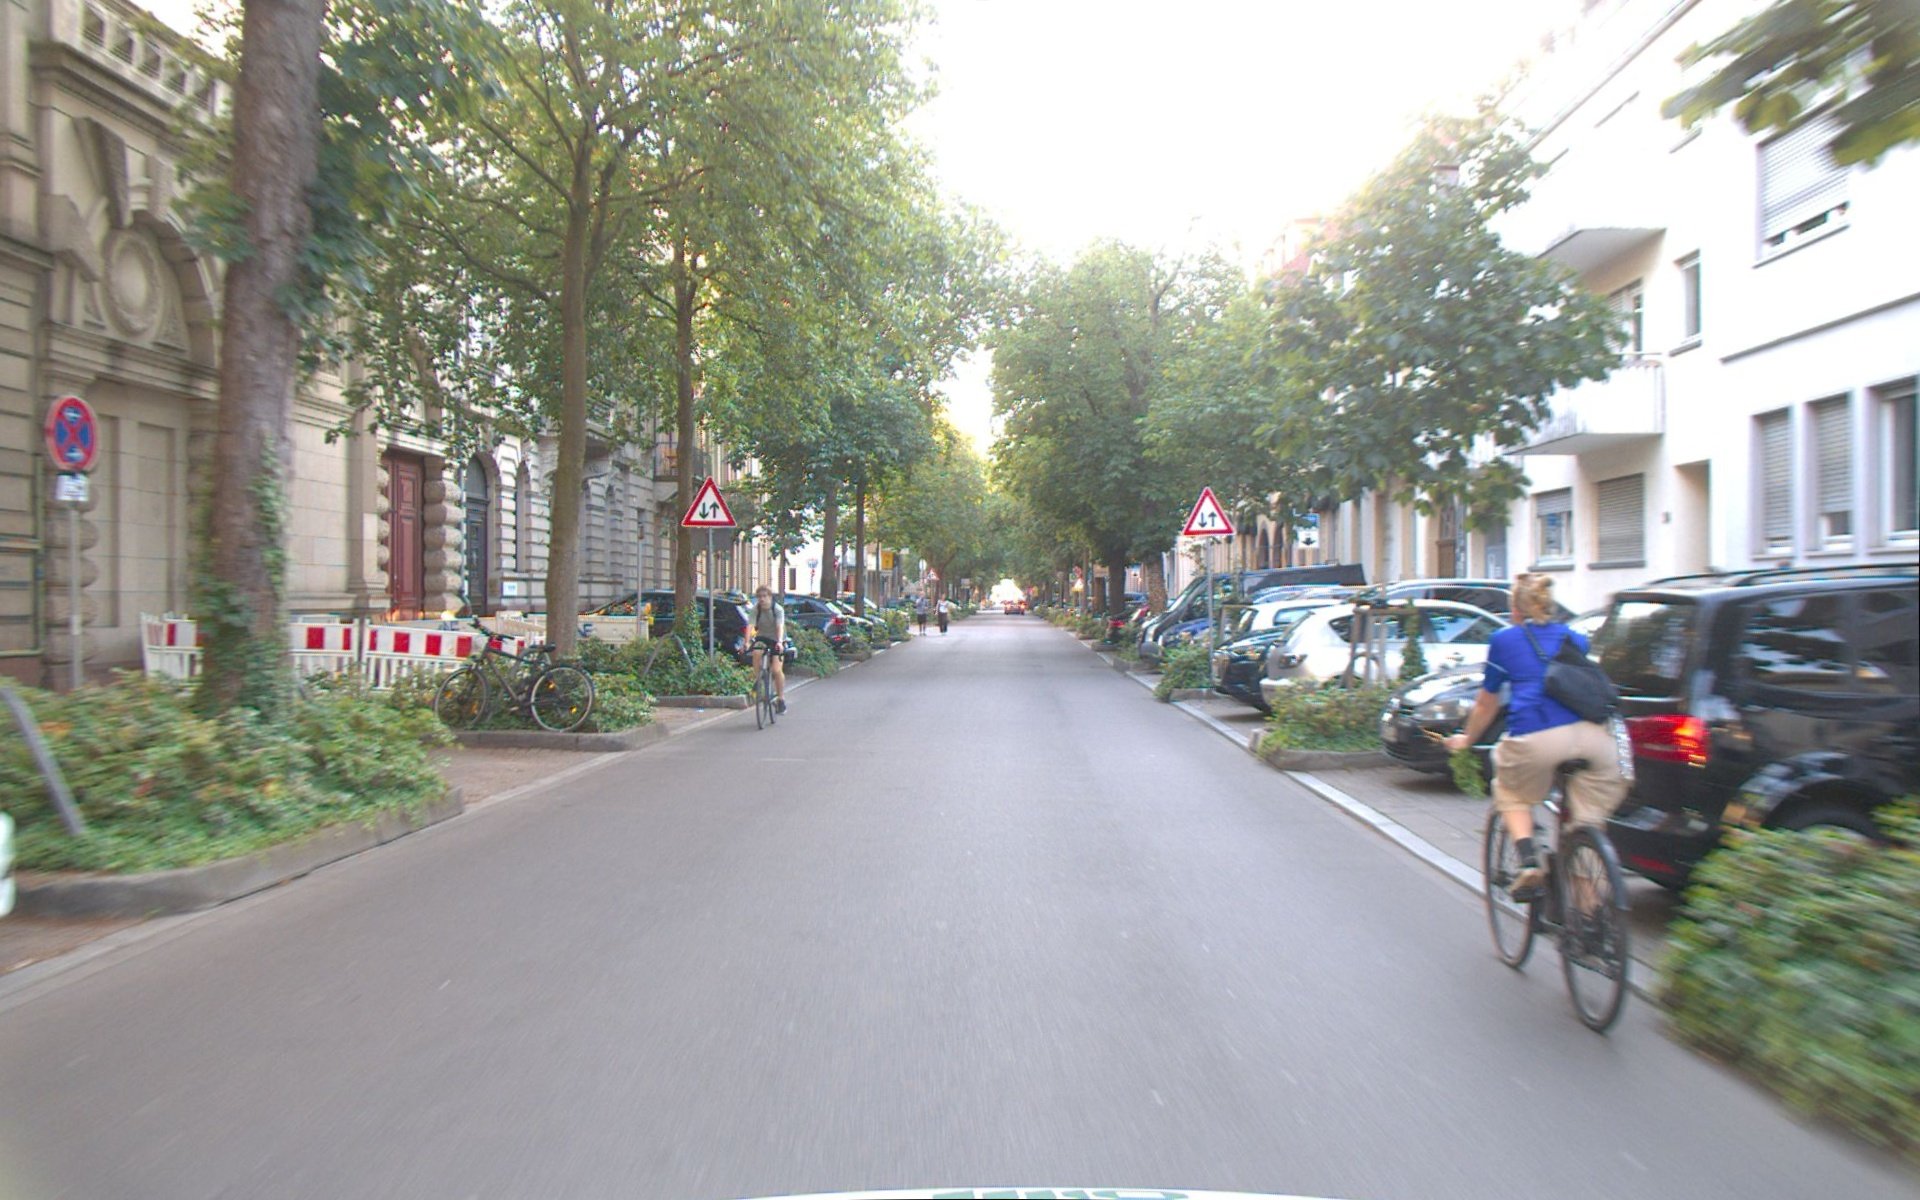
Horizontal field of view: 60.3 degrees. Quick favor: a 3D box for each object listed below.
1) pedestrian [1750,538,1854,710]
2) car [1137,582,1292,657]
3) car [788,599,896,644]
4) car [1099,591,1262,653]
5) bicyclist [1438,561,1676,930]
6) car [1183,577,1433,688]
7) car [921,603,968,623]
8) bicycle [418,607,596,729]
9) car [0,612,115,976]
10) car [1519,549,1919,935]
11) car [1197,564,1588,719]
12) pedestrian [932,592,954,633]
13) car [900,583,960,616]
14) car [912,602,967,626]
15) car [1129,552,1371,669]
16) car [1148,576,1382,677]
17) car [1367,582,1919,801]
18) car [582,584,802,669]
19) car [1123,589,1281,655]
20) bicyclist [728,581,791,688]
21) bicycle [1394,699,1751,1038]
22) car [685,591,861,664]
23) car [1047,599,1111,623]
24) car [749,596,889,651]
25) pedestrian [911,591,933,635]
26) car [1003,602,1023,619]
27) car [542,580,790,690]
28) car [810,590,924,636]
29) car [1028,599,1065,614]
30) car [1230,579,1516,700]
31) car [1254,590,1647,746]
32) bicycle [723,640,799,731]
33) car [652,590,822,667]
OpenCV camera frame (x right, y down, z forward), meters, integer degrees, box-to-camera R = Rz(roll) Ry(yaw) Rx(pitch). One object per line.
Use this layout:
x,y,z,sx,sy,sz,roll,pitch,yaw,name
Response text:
9.193,0.255,18.094,0.682,1.826,0.881,-1,0,2,pedestrian
6.408,0.497,41.913,3.604,1.606,1.714,-4,0,2,car
-4.123,0.739,58.132,3.616,1.484,1.873,1,0,1,car
6.229,0.615,47.035,4.311,1.418,1.885,-4,0,-1,car
2.377,0.554,6.663,0.658,1.387,0.776,1,-1,-1,bicyclist
5.980,0.550,28.744,3.884,1.606,1.851,-4,0,0,car
-1.414,1.164,149.879,4.116,1.664,1.963,-2,-1,1,car
-4.740,0.702,17.346,1.733,1.254,0.500,0,-1,7,bicycle
-5.954,0.763,6.373,4.419,1.415,1.917,0,0,2,car
5.044,0.591,8.019,4.024,1.646,1.961,-1,0,2,car
5.489,0.518,21.449,4.497,1.606,1.944,-4,0,0,car
-0.707,0.515,68.243,0.780,1.700,0.830,-1,0,-8,pedestrian
-2.310,-0.040,129.748,4.585,2.521,2.000,0,-1,1,car
-1.769,1.192,142.159,4.585,1.886,1.963,-2,-1,1,car
5.976,0.210,34.474,4.593,2.046,2.037,-4,0,1,car
5.795,0.497,31.812,4.071,1.606,1.970,-4,0,0,car
5.643,0.692,13.389,4.226,1.522,1.794,-2,0,1,car
-5.165,0.486,32.214,3.883,1.411,1.765,3,1,2,car
6.476,0.587,44.528,3.906,1.462,1.926,-4,0,0,car
-2.458,0.419,20.344,0.658,1.286,0.648,-1,0,2,bicyclist
2.365,0.982,6.666,0.658,1.048,1.976,1,0,-1,bicycle
-4.634,0.671,41.369,4.114,1.701,1.908,1,0,2,car
8.703,0.794,120.962,4.618,1.740,1.951,0,0,3,car
-4.077,0.674,48.278,3.864,1.559,1.908,0,-1,1,car
-1.569,0.524,68.215,0.780,1.767,0.830,-1,0,-8,pedestrian
5.263,1.022,164.167,1.916,1.593,4.283,-2,-1,2,car
-5.077,0.598,28.890,3.883,1.624,1.781,3,0,2,car
-3.655,0.498,65.525,4.333,1.680,1.873,1,0,2,car
10.098,0.722,192.467,4.180,1.593,1.963,-2,-1,1,car
5.994,0.565,24.324,3.715,1.448,1.698,-4,0,0,car
5.572,0.760,19.202,3.989,1.454,1.819,-4,0,4,car
-2.440,1.033,20.454,0.658,1.011,1.759,-1,0,2,bicycle
-5.204,0.651,38.966,3.722,1.701,1.714,1,0,0,car
